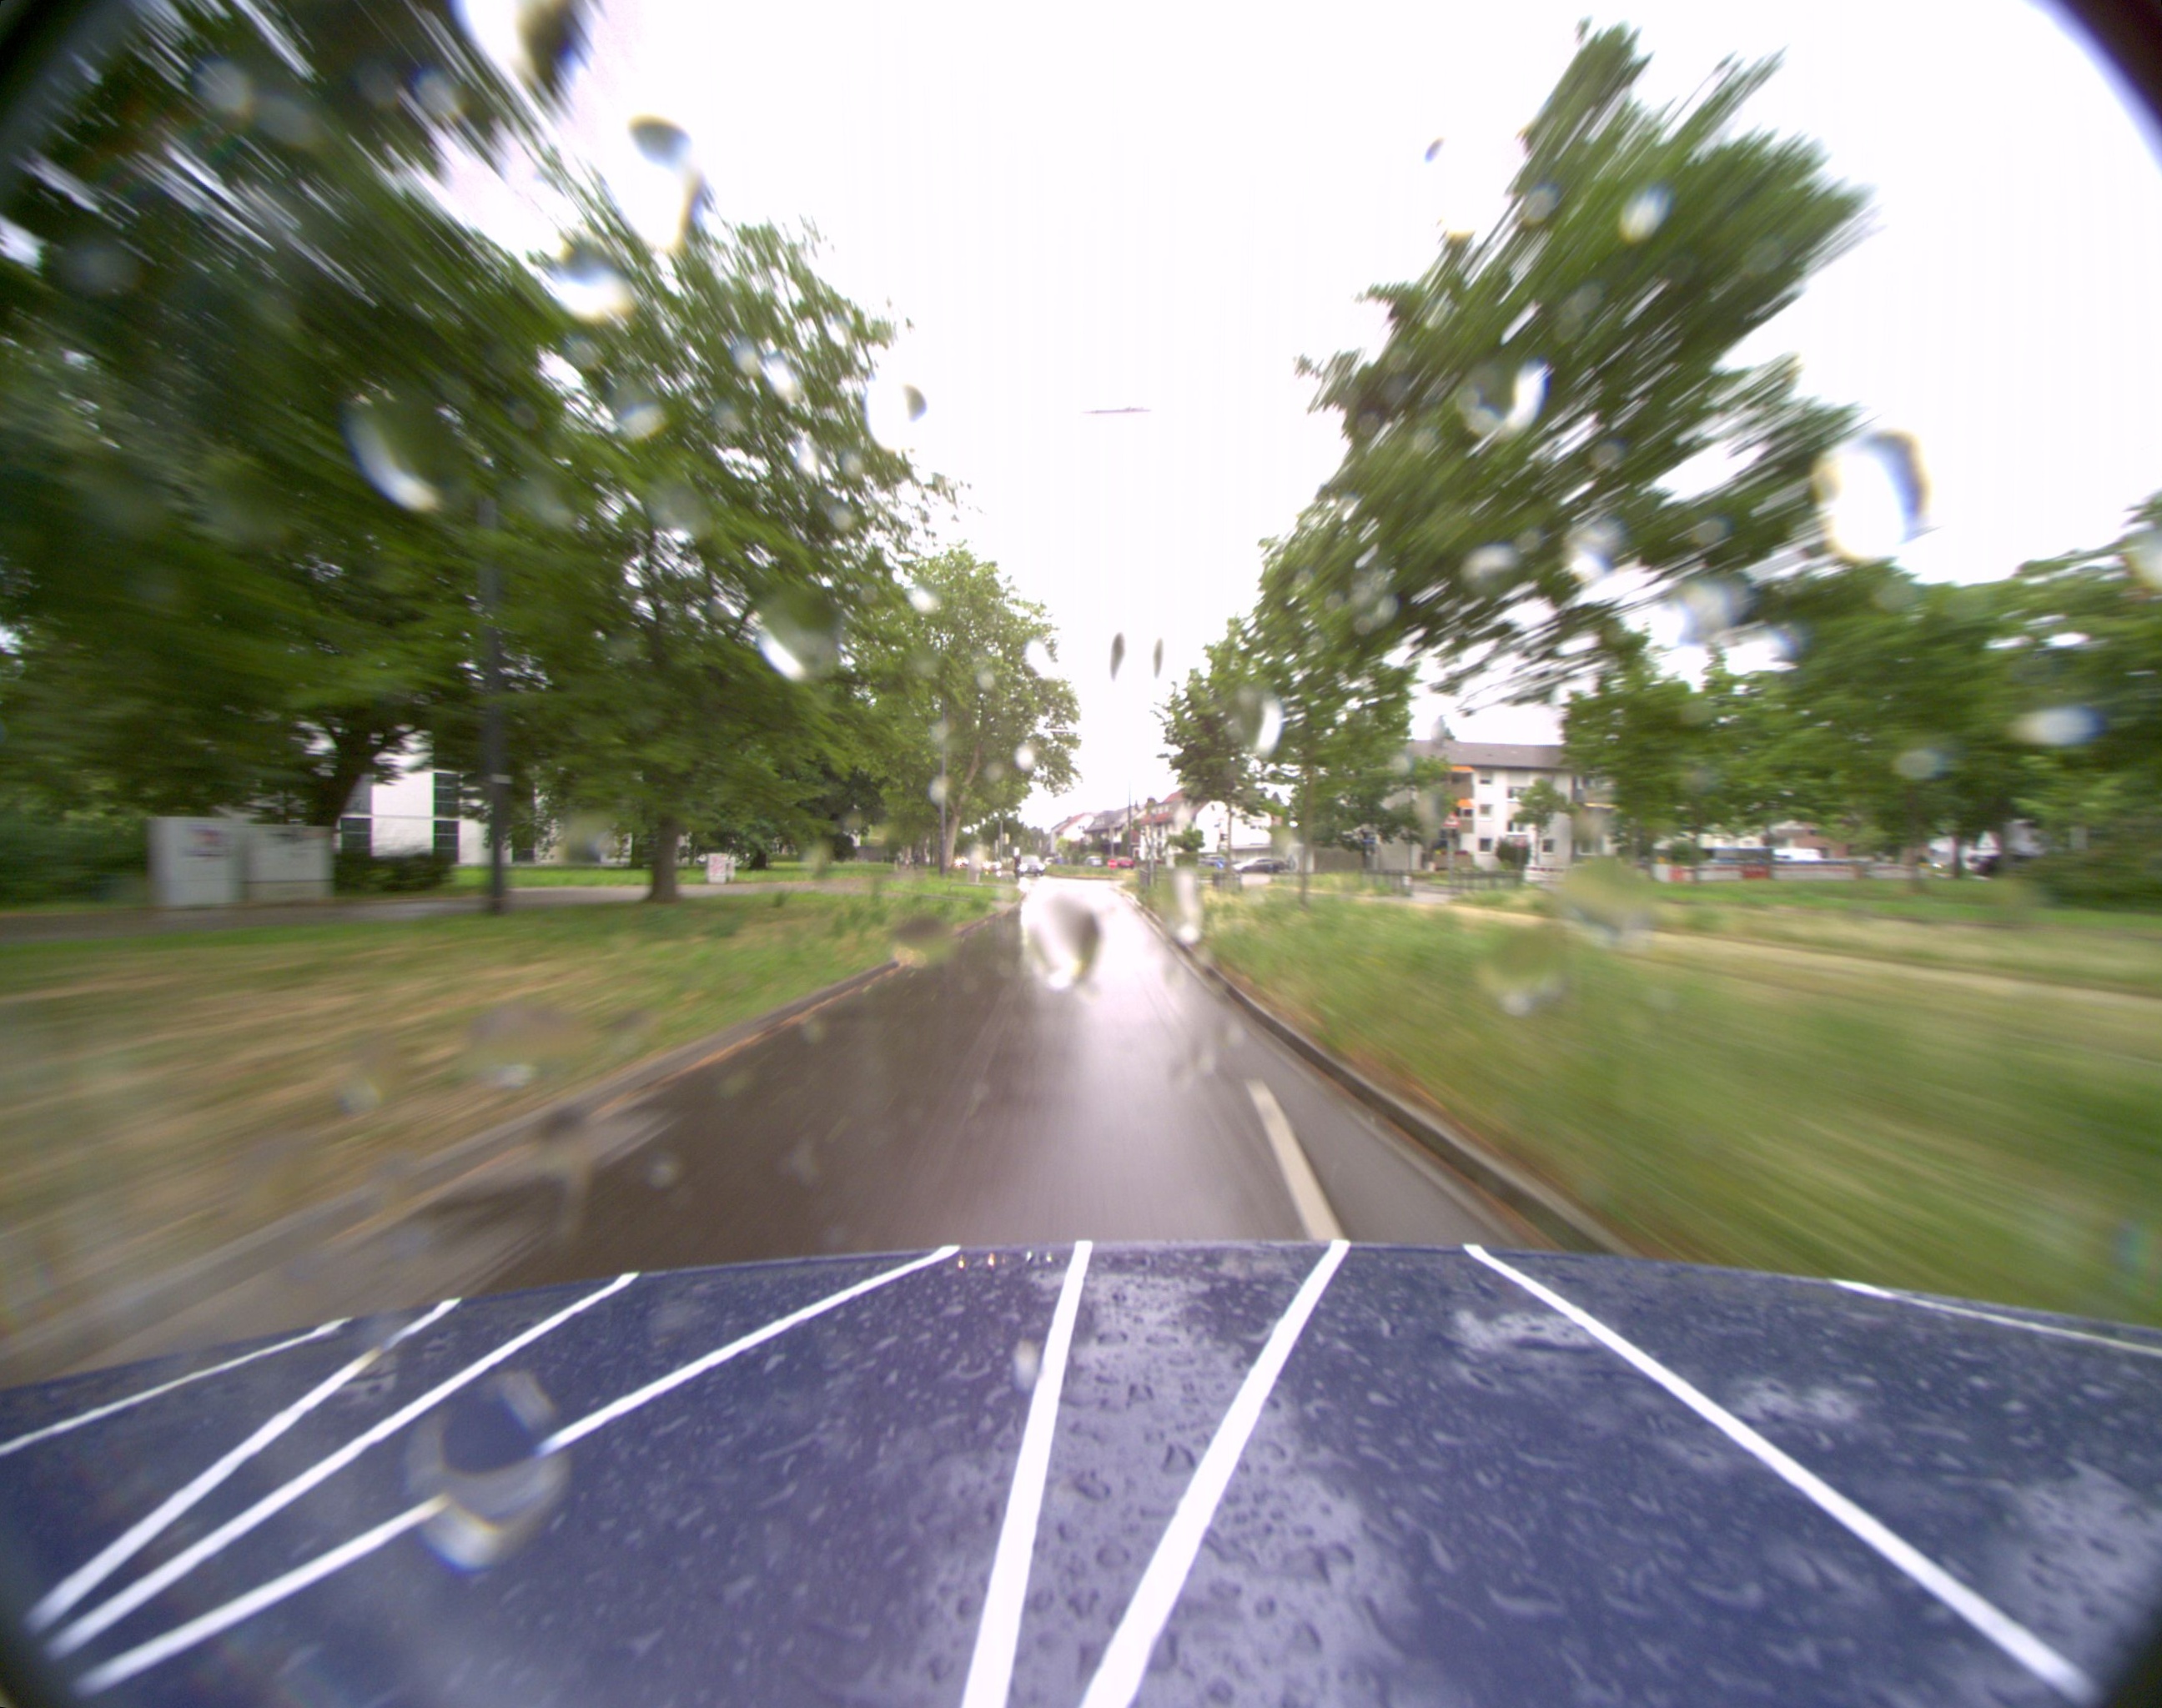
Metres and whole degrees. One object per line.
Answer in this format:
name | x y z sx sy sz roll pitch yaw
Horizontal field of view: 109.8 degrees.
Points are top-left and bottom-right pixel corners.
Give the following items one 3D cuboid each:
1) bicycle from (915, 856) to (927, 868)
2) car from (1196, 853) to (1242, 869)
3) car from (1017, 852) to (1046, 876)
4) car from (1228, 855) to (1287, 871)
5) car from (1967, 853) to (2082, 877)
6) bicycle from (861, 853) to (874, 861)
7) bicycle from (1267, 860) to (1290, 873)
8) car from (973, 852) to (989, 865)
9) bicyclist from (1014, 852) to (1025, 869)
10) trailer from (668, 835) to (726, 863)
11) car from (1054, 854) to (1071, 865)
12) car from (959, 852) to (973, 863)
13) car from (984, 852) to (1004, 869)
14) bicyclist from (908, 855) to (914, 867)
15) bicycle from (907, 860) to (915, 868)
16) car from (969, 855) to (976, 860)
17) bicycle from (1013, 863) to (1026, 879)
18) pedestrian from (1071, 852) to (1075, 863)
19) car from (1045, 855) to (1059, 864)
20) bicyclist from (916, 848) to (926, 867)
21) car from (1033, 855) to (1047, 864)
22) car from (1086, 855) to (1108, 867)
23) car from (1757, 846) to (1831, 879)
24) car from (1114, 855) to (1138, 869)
bicycle | -14.989 0.752 71.241 0.713 1.136 1.971 0 1 -1
car | 13.522 0.715 74.631 4.002 1.567 1.890 0 0 -14
car | -3.958 0.782 60.036 1.769 1.715 3.930 -2 0 -12
car | 15.460 0.777 66.673 4.742 1.357 1.846 -1 0 -11
car | 52.184 0.570 42.142 3.731 1.242 1.669 1 0 39
bicycle | -30.638 0.397 109.246 0.520 1.115 1.942 3 0 30
bicycle | 15.816 0.995 60.857 0.483 1.013 1.837 -4 2 -37
car | -13.435 0.559 101.714 1.769 1.715 3.929 1 1 -12
bicyclist | -3.986 0.415 49.028 0.622 1.078 0.624 1 1 -10
trailer | -32.973 -0.398 65.271 1.886 2.295 4.029 1 0 38
car | -3.125 0.882 127.853 1.851 1.696 4.177 -1 0 -15
car | -18.155 0.503 119.804 1.770 1.715 3.928 1 1 -15
car | -9.150 0.650 79.597 1.769 1.715 3.930 -1 0 -12
bicyclist | -15.903 0.648 71.110 0.488 1.032 0.591 0 1 -2
bicycle | -15.906 0.919 71.157 0.488 0.704 1.457 0 0 -2
car | -34.633 1.214 241.571 1.761 1.507 3.849 -3 1 -13
bicycle | -3.992 1.088 49.025 0.660 1.008 2.255 1 1 -10
pedestrian | -1.361 0.624 129.153 0.600 1.757 0.868 -1 1 -13
car | -5.231 0.986 134.630 1.720 1.520 3.597 -3 1 -14
bicyclist | -14.993 0.323 71.247 0.713 1.711 0.957 0 1 -1
car | -7.890 1.033 145.801 1.761 1.604 4.105 -3 1 -13
car | 2.130 0.908 104.783 2.001 1.604 4.679 -1 0 -12
car | 53.755 0.641 57.293 4.473 2.432 1.915 1 0 -13
car | 5.422 0.932 91.666 1.848 1.538 3.968 -3 1 -12
